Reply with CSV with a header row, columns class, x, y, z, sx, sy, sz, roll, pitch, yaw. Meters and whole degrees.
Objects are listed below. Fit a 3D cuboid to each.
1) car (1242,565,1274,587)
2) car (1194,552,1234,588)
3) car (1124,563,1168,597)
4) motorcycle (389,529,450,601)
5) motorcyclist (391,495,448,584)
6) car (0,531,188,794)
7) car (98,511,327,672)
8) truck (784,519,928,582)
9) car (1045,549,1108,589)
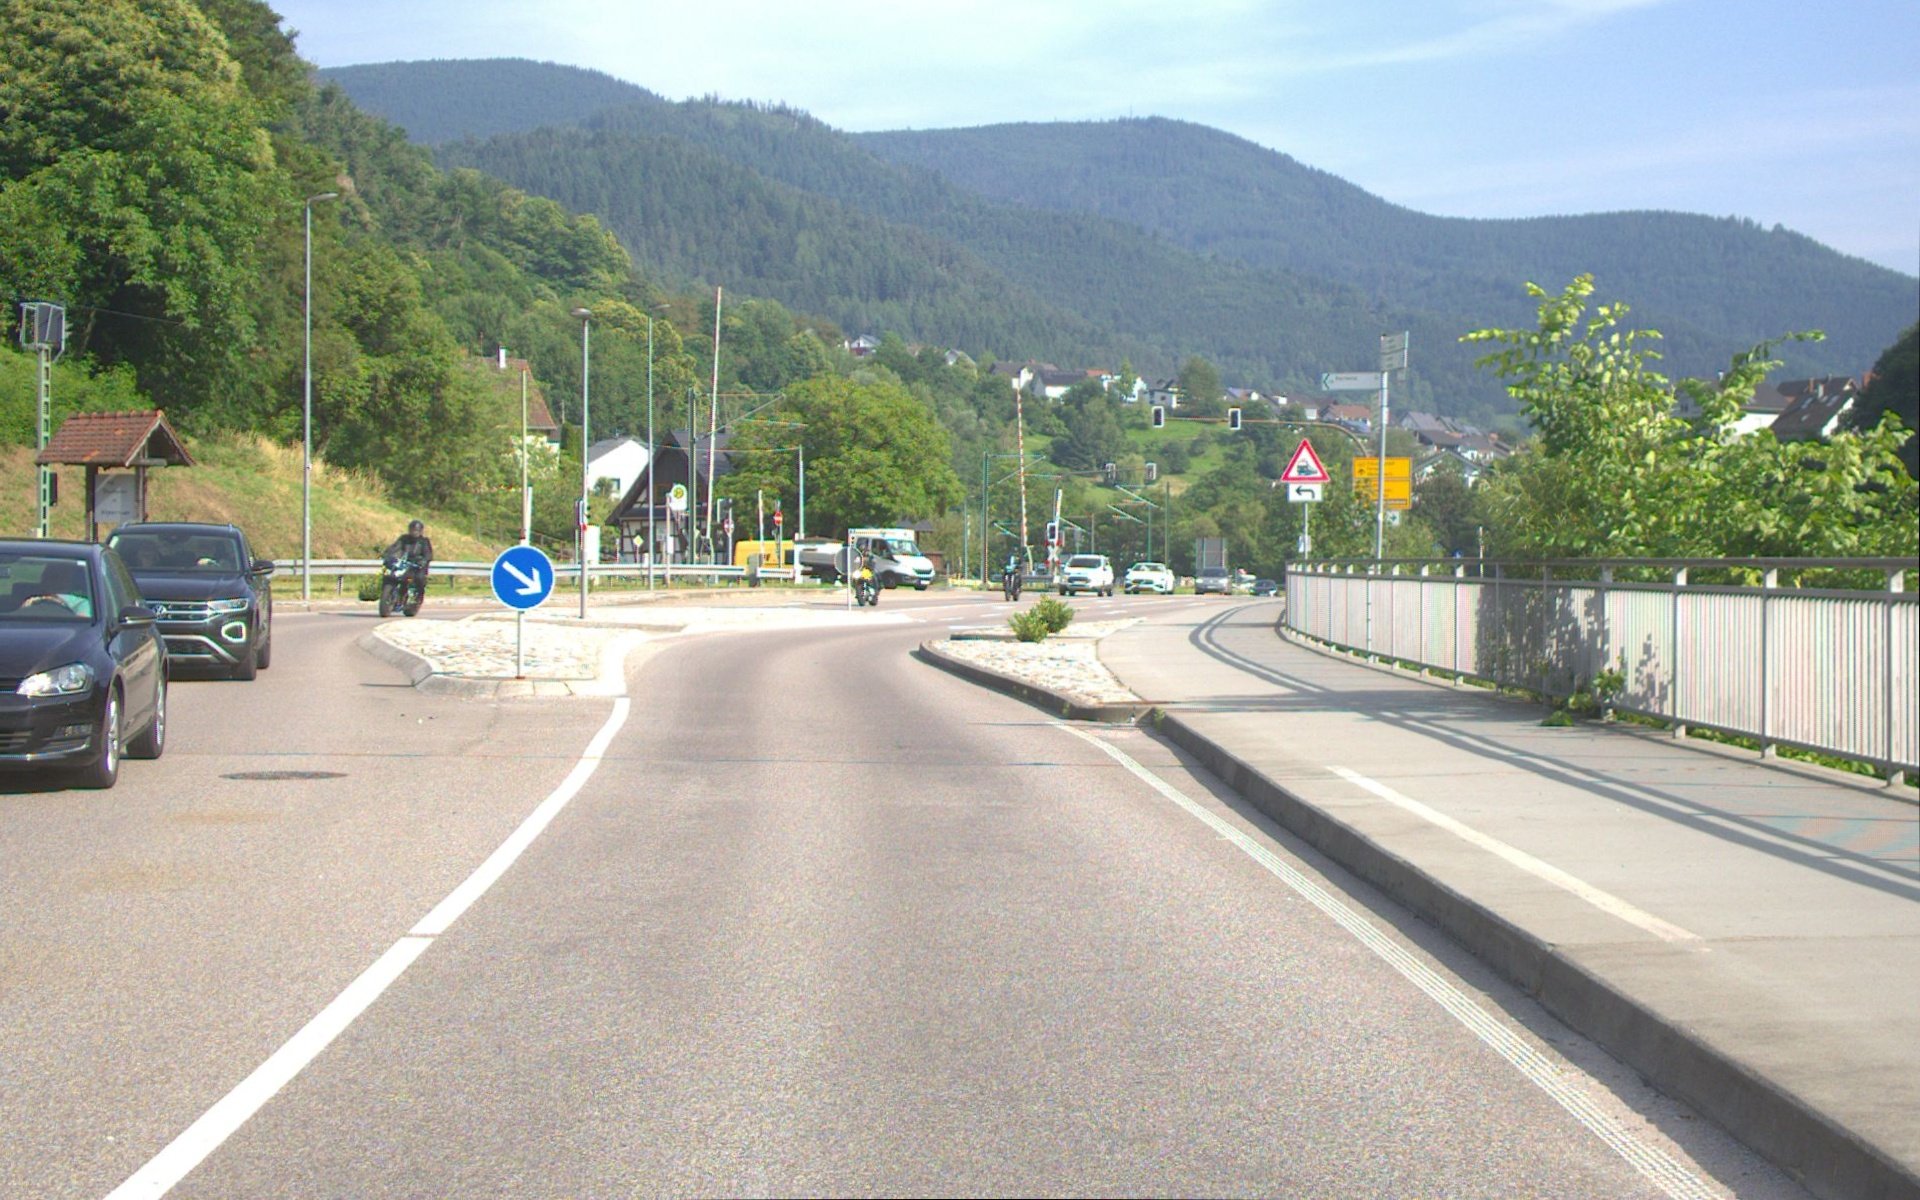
class,x,y,z,sx,sy,sz,roll,pitch,yaw
car,19.001,-1.535,219.304,1.773,1.412,3.784,-1,1,9
car,13.786,-1.622,186.624,1.759,1.516,4.201,1,-5,10
car,8.314,-0.900,153.309,1.782,1.395,4.826,2,1,5
motorcycle,-9.371,-0.612,59.548,0.894,1.179,2.306,0,2,-13
motorcyclist,-9.375,-1.051,59.586,0.905,1.513,0.847,0,2,-13
car,-5.853,0.301,20.870,1.774,1.403,4.273,0,1,-6
car,-7.467,-0.136,34.669,1.774,1.511,4.273,0,1,-6
truck,-4.196,-1.986,137.443,5.999,2.258,1.995,4,2,43
car,4.636,-1.228,136.680,1.765,1.555,3.998,1,0,13
